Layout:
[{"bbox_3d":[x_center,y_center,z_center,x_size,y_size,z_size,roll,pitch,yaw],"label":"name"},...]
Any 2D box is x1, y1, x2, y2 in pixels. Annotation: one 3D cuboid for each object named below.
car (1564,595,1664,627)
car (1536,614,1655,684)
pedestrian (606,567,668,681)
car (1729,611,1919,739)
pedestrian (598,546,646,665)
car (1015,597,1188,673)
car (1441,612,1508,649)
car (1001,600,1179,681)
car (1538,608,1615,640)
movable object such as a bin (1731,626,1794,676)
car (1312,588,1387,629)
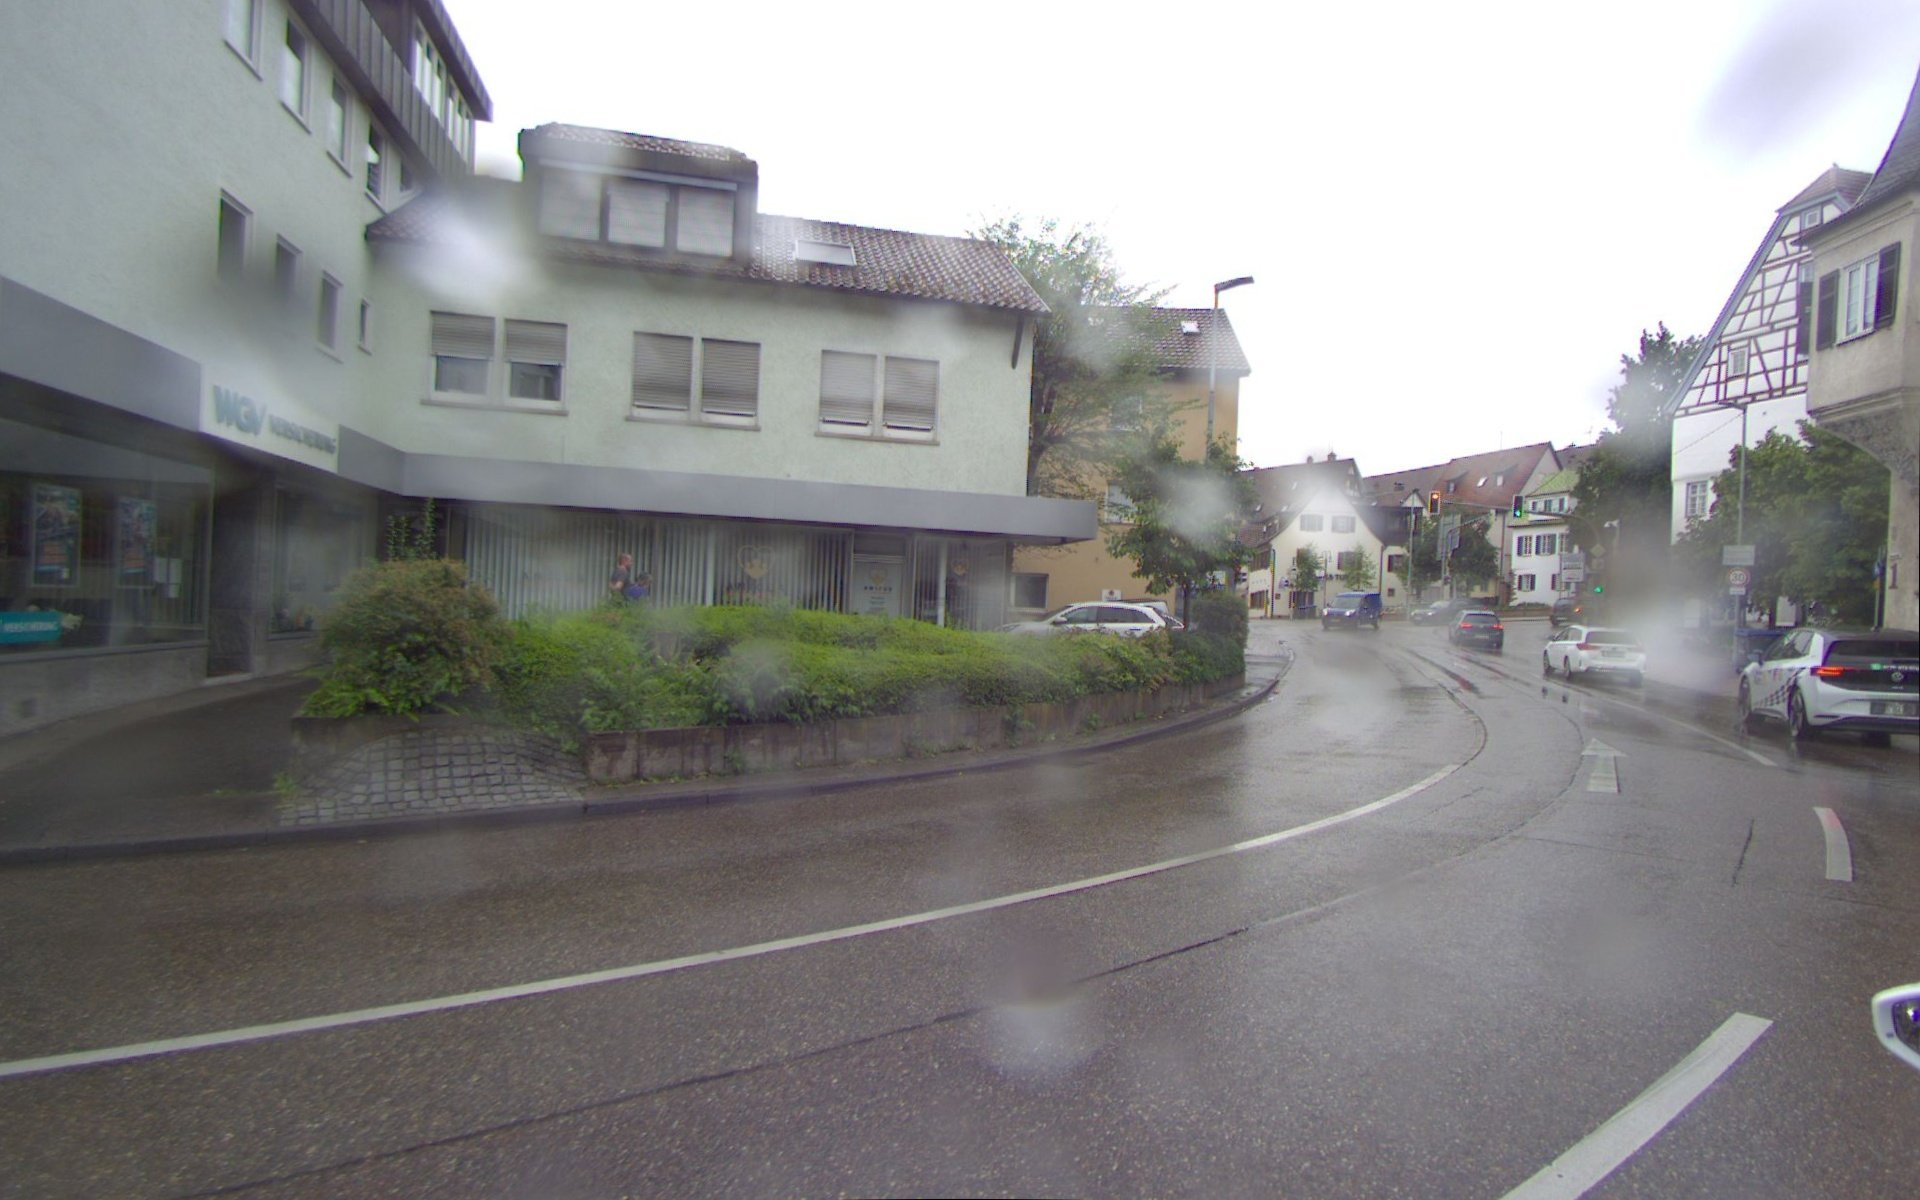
[{"bbox_3d":[37.938,0.643,58.385,4.389,1.612,2.001,3,0,4],"label":"car"},{"bbox_3d":[17.432,1.270,27.765,1.854,1.617,4.325,2,1,20],"label":"car"},{"bbox_3d":[-4.969,0.364,15.467,0.849,1.694,0.615,2,1,-18],"label":"pedestrian"},{"bbox_3d":[12.612,0.964,14.352,1.828,1.492,3.995,2,1,27],"label":"car"},{"bbox_3d":[-5.371,0.090,15.962,0.662,1.844,0.615,2,1,-18],"label":"pedestrian"},{"bbox_3d":[4.148,1.007,30.075,4.837,1.850,1.962,-4,2,2],"label":"car"},{"bbox_3d":[21.346,1.224,41.819,1.961,1.319,3.999,2,1,20],"label":"car"},{"bbox_3d":[2.864,0.885,22.629,3.577,1.650,1.998,2,0,-7],"label":"car"},{"bbox_3d":[31.759,1.246,51.774,3.377,1.543,1.583,2,-3,-17],"label":"car"},{"bbox_3d":[22.973,1.443,28.793,1.136,1.330,1.185,2,0,26],"label":"movable object such as a bin"},{"bbox_3d":[19.610,0.434,50.508,1.972,1.907,4.352,3,1,43],"label":"car"}]
